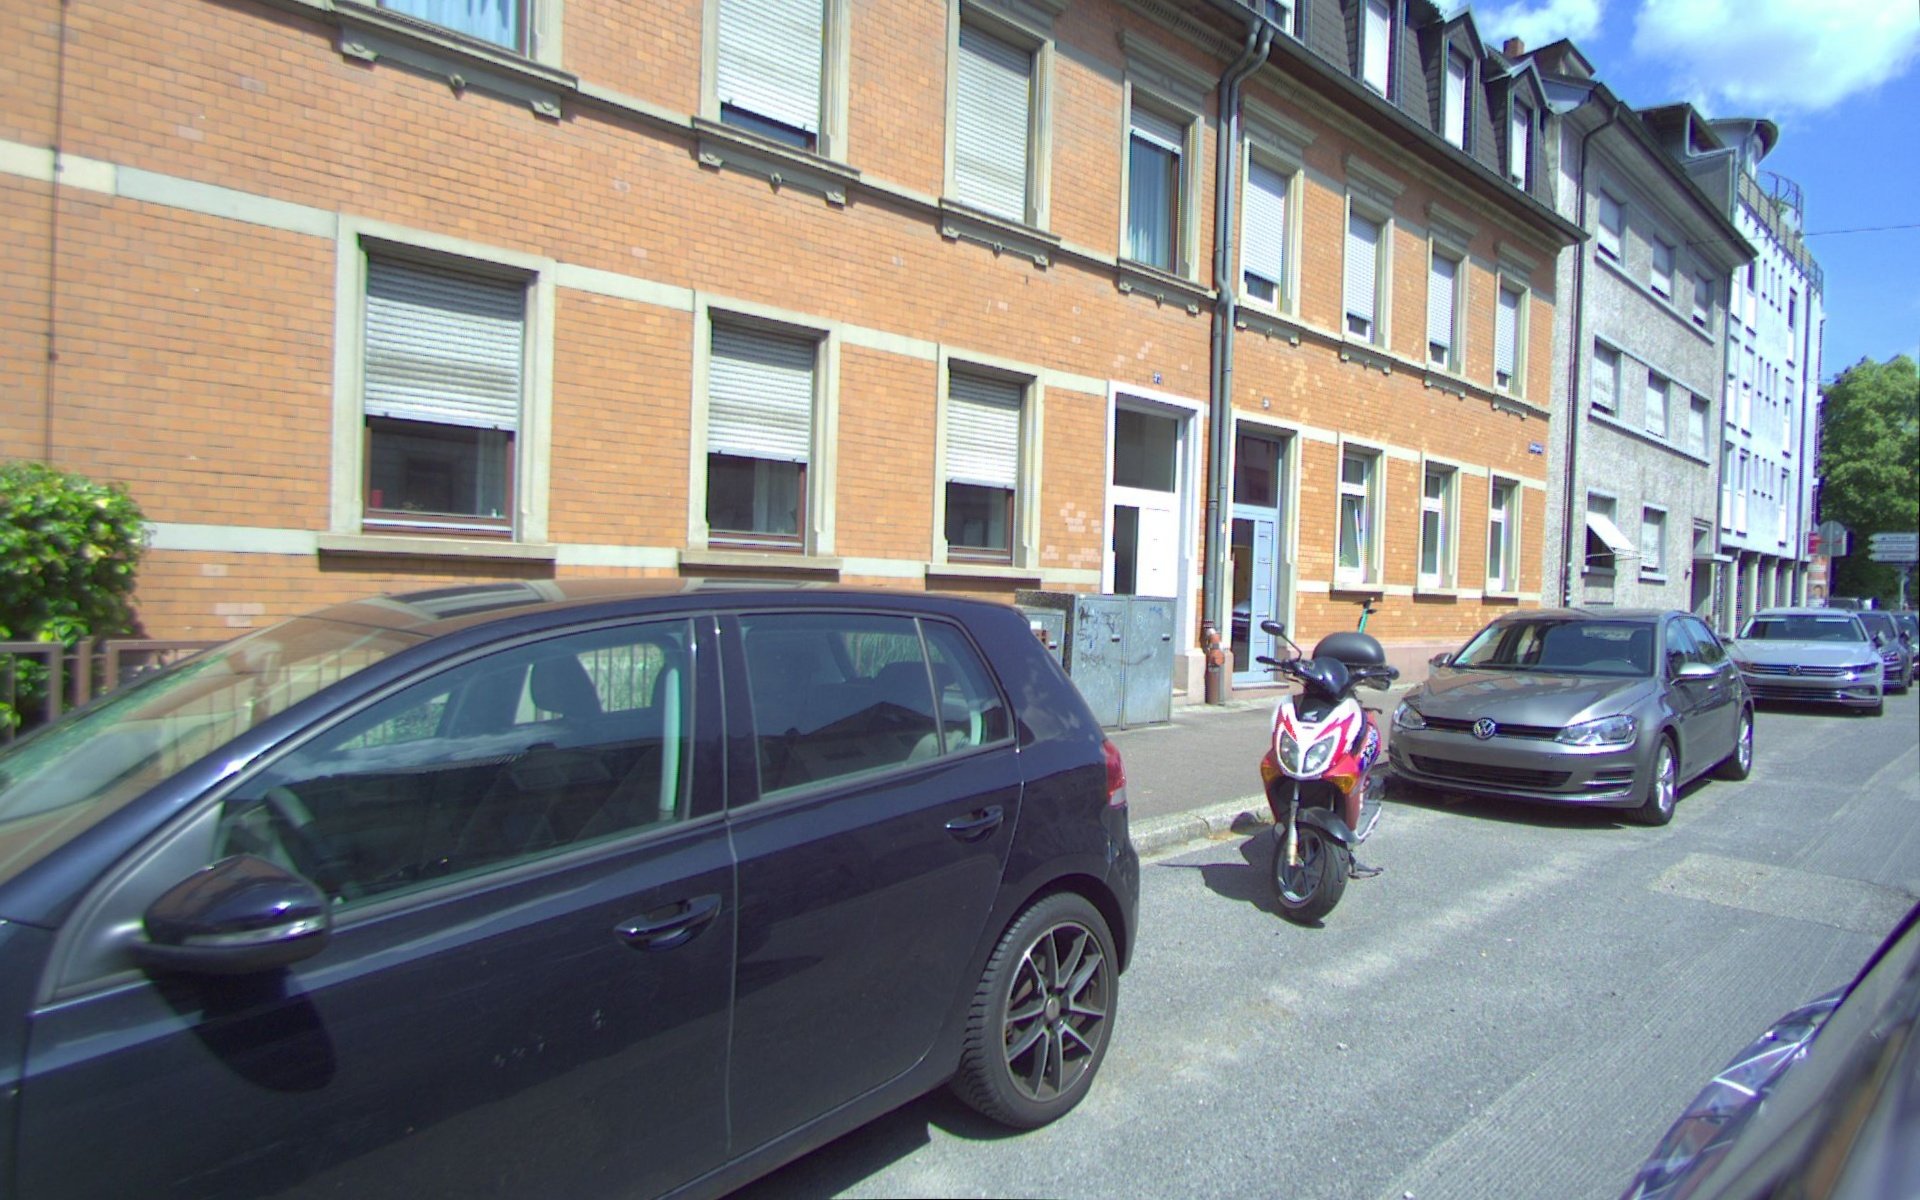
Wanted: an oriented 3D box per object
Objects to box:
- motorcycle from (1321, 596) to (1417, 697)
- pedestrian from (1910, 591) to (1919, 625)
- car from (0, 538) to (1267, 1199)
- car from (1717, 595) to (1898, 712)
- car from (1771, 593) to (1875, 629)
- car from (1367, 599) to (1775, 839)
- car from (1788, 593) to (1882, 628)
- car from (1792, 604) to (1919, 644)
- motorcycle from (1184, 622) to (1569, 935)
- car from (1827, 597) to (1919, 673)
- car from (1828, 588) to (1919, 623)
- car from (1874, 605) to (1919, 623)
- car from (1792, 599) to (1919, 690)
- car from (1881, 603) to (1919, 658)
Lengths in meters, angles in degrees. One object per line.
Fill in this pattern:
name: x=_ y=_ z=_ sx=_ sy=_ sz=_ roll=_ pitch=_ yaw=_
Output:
motorcycle: x=5.324 y=0.572 z=13.146 sx=1.337 sy=1.240 sz=0.597 roll=0 pitch=1 yaw=-41
pedestrian: x=50.658 y=0.401 z=53.498 sx=0.725 sy=1.786 sz=0.617 roll=0 pitch=0 yaw=-43
car: x=-1.043 y=0.623 z=2.563 sx=1.649 sy=1.432 sz=4.430 roll=1 pitch=1 yaw=44
car: x=12.826 y=0.674 z=15.262 sx=1.853 sy=1.481 sz=4.481 roll=1 pitch=1 yaw=42
car: x=45.334 y=0.522 z=53.219 sx=1.983 sy=1.773 sz=3.992 roll=0 pitch=1 yaw=-43
car: x=5.010 y=0.705 z=8.042 sx=4.096 sy=1.398 sz=1.703 roll=0 pitch=1 yaw=-43
car: x=47.369 y=0.552 z=54.835 sx=3.763 sy=1.688 sz=1.638 roll=3 pitch=2 yaw=44
car: x=35.294 y=0.916 z=39.193 sx=1.967 sy=1.382 sz=4.585 roll=1 pitch=1 yaw=-44
motorcycle: x=1.935 y=0.758 z=5.159 sx=1.091 sy=1.241 sz=1.996 roll=0 pitch=0 yaw=-1
car: x=20.637 y=0.720 z=22.306 sx=4.361 sy=1.491 sz=1.714 roll=0 pitch=1 yaw=-42
car: x=62.722 y=0.369 z=69.444 sx=2.069 sy=2.305 sz=4.609 roll=1 pitch=-1 yaw=-42
car: x=75.686 y=1.129 z=80.910 sx=3.831 sy=1.375 sz=1.606 roll=1 pitch=1 yaw=40
car: x=16.548 y=0.731 z=18.504 sx=3.982 sy=1.438 sz=1.652 roll=0 pitch=1 yaw=-45
car: x=27.214 y=0.820 z=28.491 sx=4.074 sy=1.473 sz=1.678 roll=0 pitch=0 yaw=-44
